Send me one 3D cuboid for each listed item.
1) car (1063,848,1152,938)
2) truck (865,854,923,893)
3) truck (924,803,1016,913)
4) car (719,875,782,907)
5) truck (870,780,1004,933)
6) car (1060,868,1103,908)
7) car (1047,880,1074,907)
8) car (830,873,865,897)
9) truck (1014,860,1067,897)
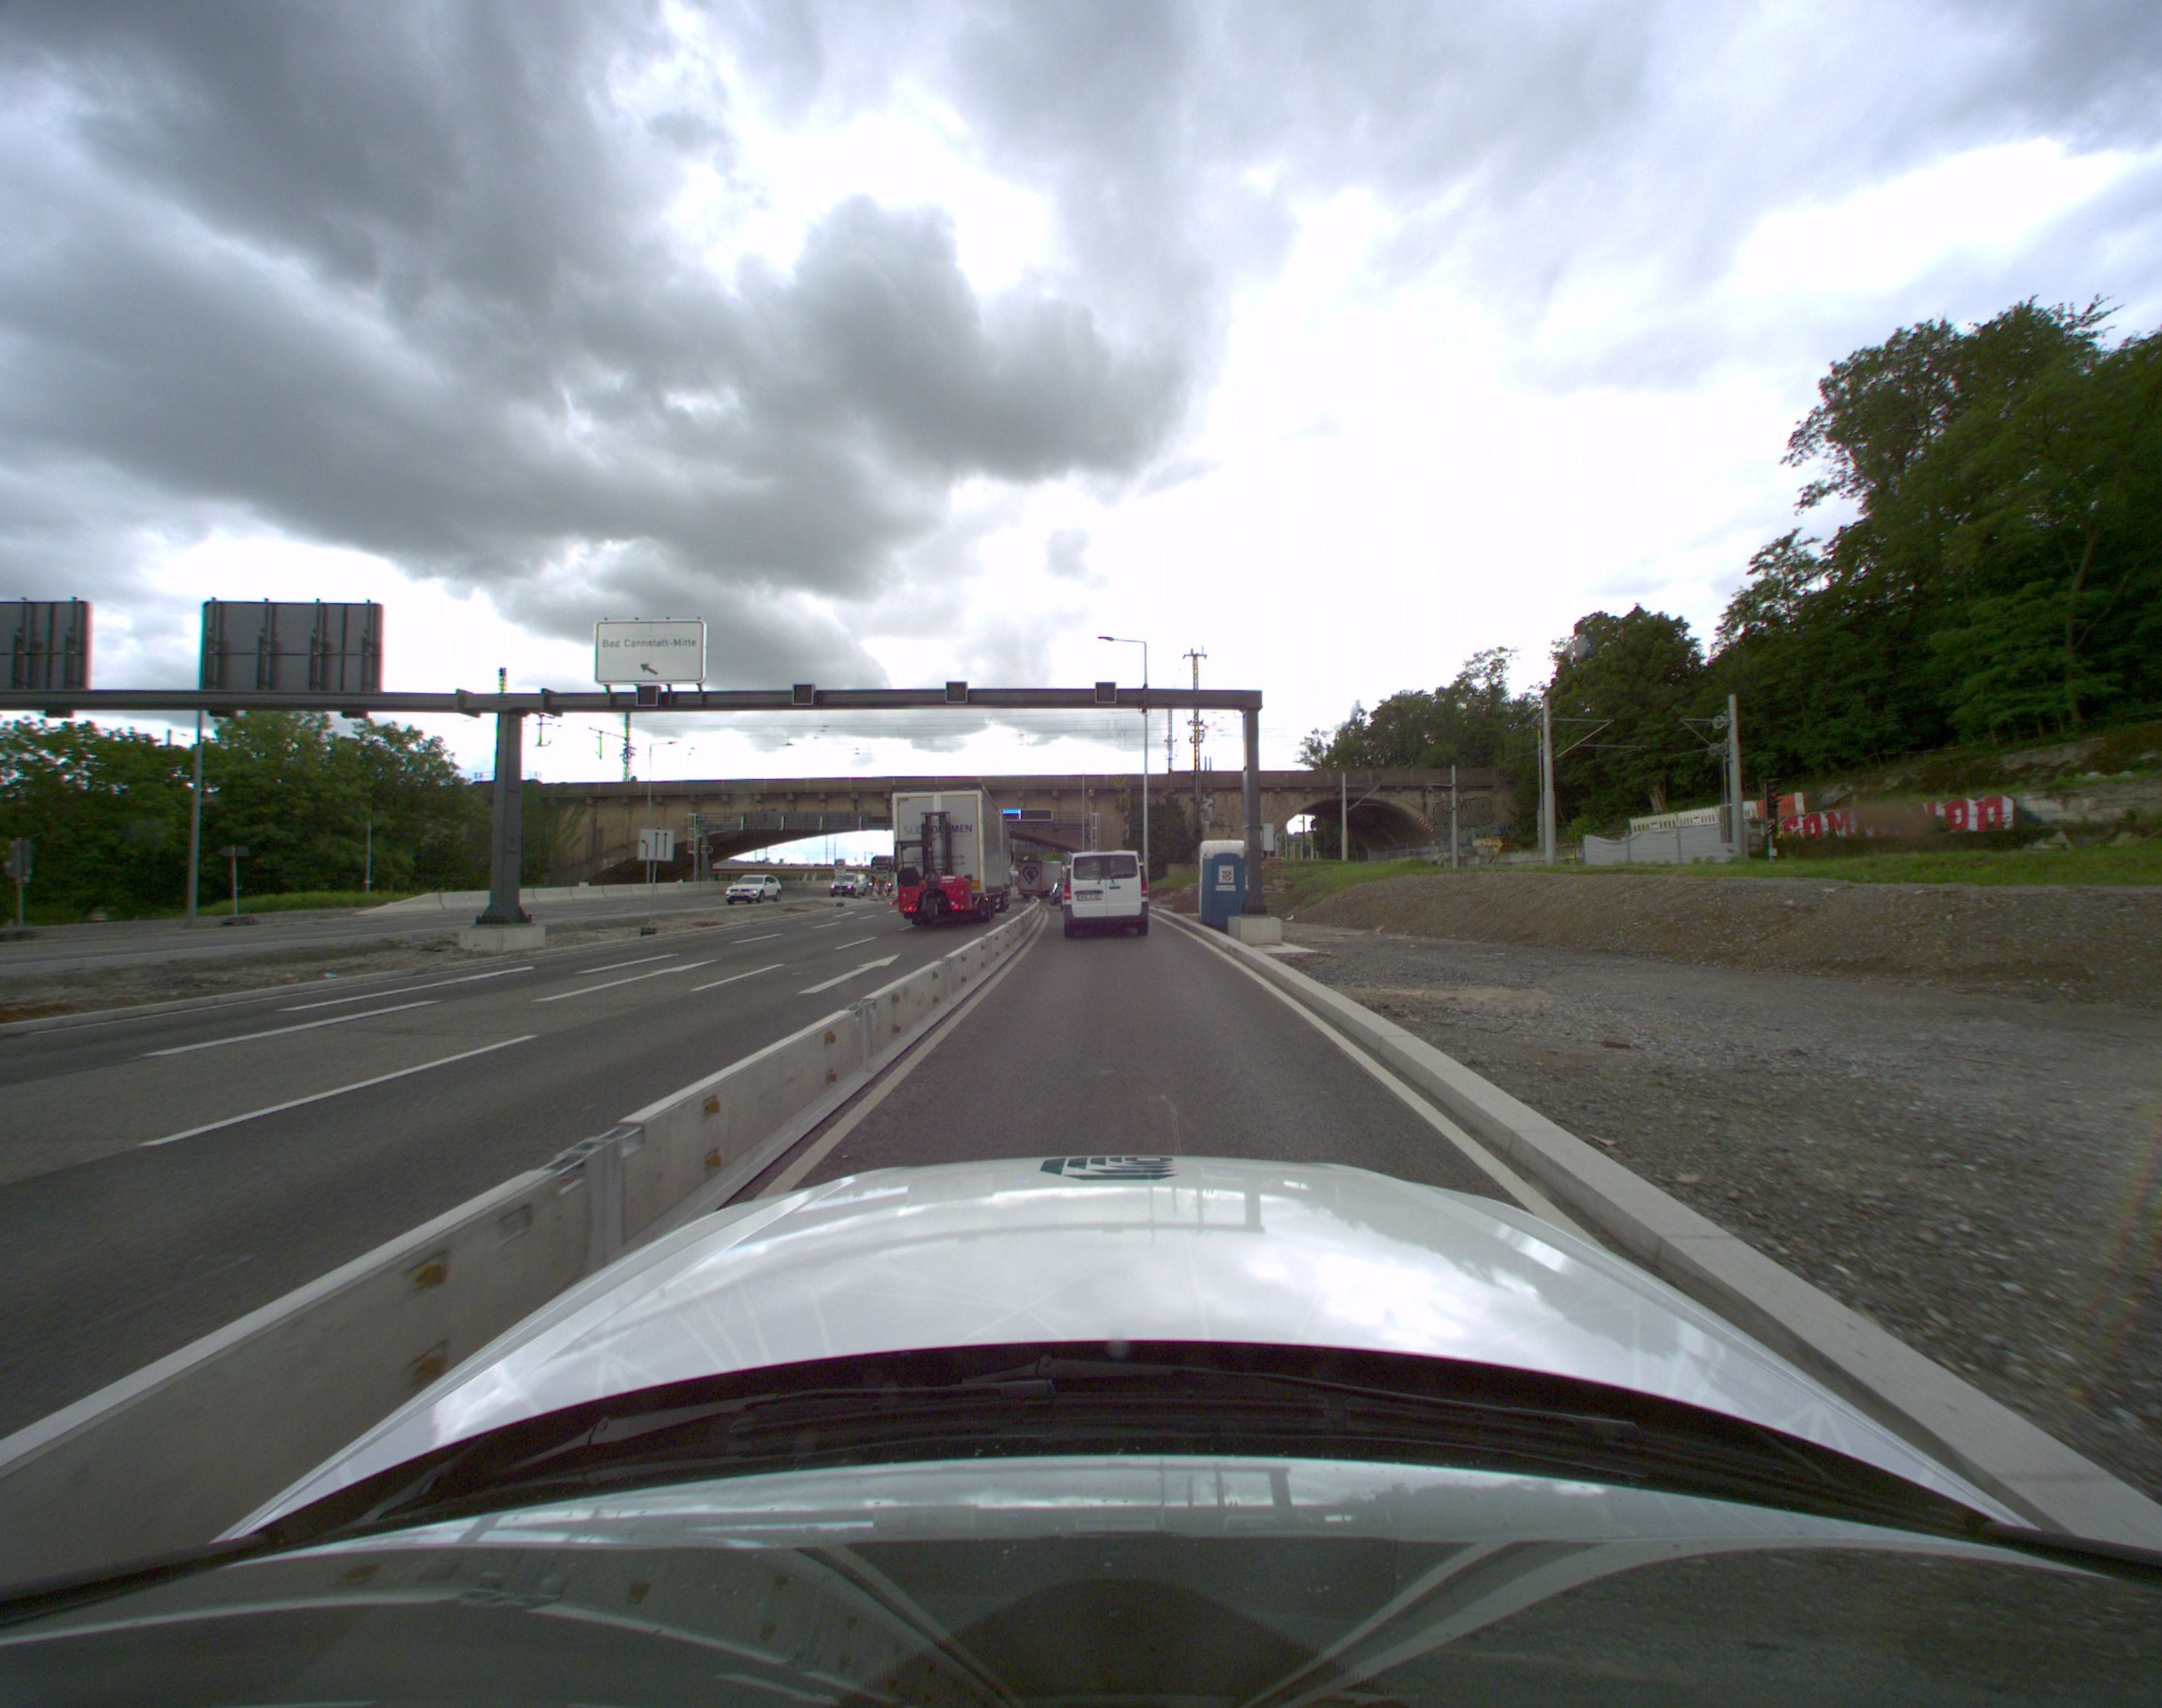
[{"bbox_3d":[0.684,0.844,19.449,1.868,1.891,4.757,0,-1,3],"label":"car"},{"bbox_3d":[-21.040,2.243,92.690,2.887,4.062,13.994,-1,-1,2],"label":"truck"},{"bbox_3d":[-4.655,0.343,36.581,2.980,4.177,11.228,1,-2,-2],"label":"truck"},{"bbox_3d":[-18.402,2.010,45.567,1.794,1.662,4.286,-1,-1,0],"label":"car"},{"bbox_3d":[-4.278,0.136,26.649,2.910,4.017,10.191,1,-1,-2],"label":"truck"},{"bbox_3d":[0.046,1.468,35.887,1.743,1.625,3.844,-1,-2,1],"label":"car"},{"bbox_3d":[-1.207,2.314,46.966,1.497,1.469,3.395,0,-4,-2],"label":"car"},{"bbox_3d":[-18.642,2.450,65.141,1.821,1.807,3.797,-1,-1,-2],"label":"car"},{"bbox_3d":[-4.434,2.857,94.205,3.299,3.810,16.620,1,-2,7],"label":"truck"}]
